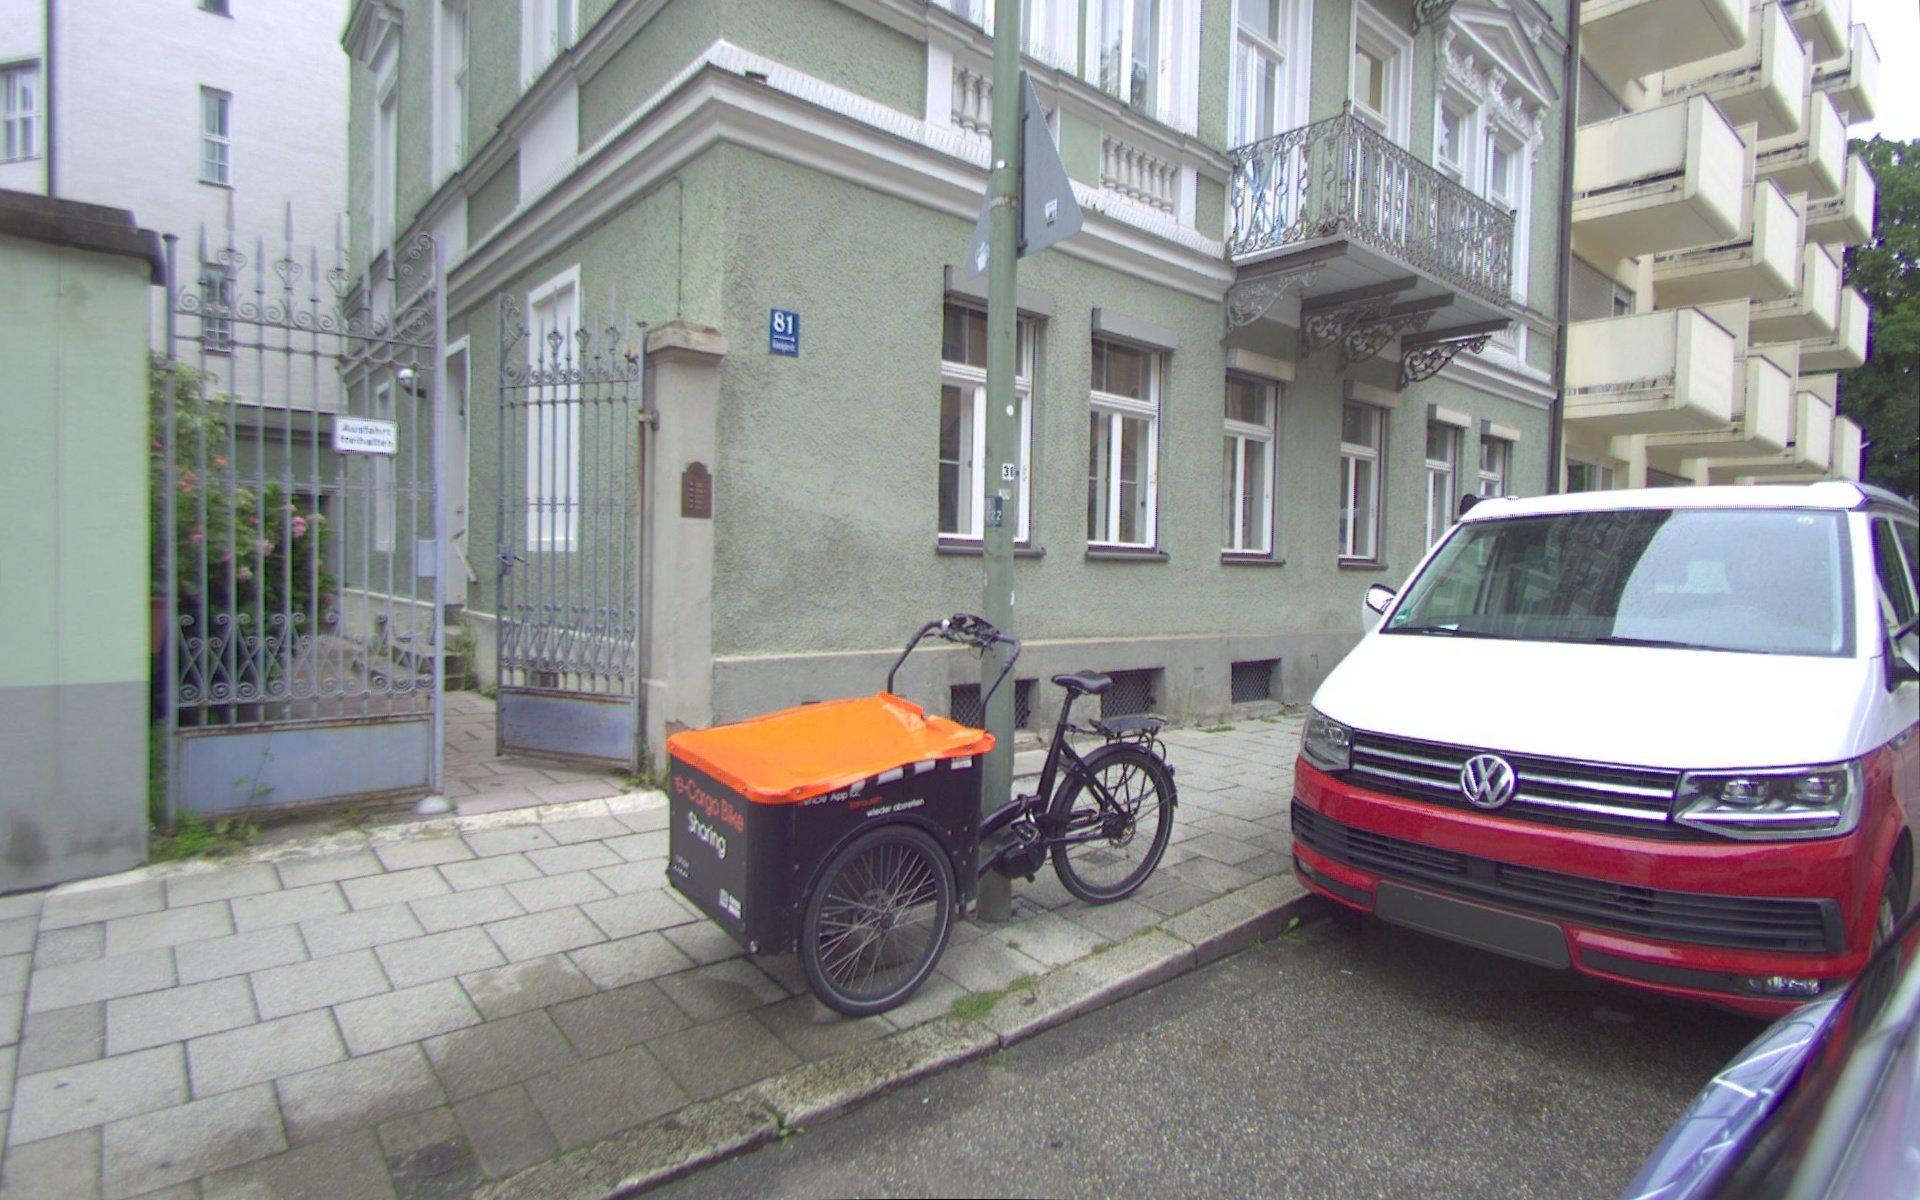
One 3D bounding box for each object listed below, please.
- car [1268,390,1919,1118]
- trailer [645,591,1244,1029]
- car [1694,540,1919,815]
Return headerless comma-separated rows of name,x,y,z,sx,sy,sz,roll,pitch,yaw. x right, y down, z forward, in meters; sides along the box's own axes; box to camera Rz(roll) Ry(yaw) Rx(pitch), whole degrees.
car,3.558,0.397,4.855,4.510,1.920,1.857,0,0,-40
trailer,0.003,0.607,3.928,2.123,1.197,0.946,0,5,-36
car,7.692,0.509,8.267,4.474,1.780,1.830,0,0,-42
